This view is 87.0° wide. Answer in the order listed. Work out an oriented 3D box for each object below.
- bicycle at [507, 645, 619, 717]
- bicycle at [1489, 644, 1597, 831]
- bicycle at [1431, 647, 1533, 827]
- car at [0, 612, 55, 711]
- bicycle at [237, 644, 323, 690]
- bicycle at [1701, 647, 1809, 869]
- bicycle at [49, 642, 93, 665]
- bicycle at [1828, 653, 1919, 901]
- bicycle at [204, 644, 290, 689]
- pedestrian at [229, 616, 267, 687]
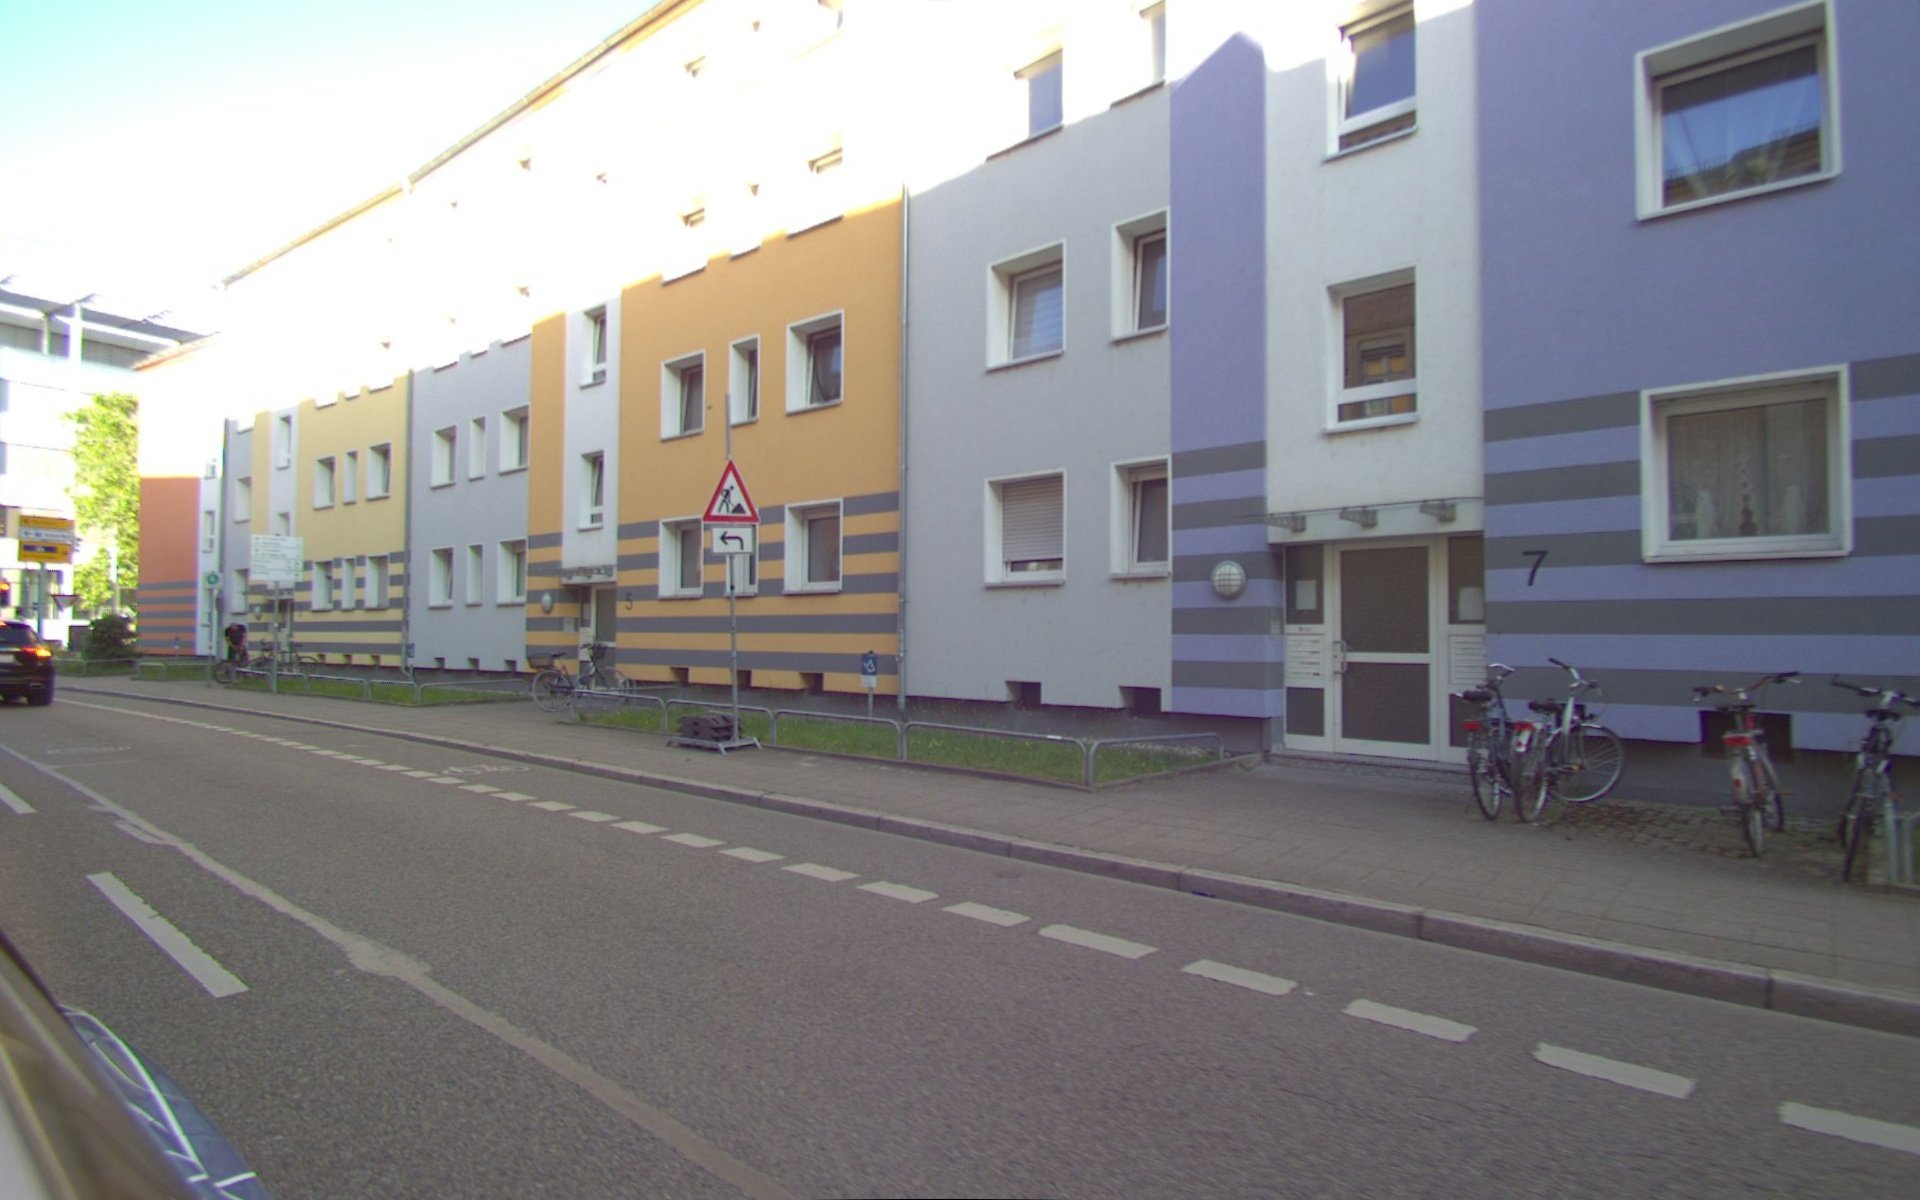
[{"bbox_3d":[-6.760,1.356,17.305,0.648,1.154,1.738,-1,-3,31],"label":"bicycle"},{"bbox_3d":[4.415,0.963,7.626,0.448,1.251,1.569,-2,-3,39],"label":"bicycle"},{"bbox_3d":[4.096,1.003,7.893,0.384,1.251,1.564,-2,-3,39],"label":"bicycle"},{"bbox_3d":[-20.073,1.199,20.357,5.088,1.849,1.881,-2,-5,39],"label":"car"},{"bbox_3d":[-17.668,1.721,26.323,0.648,1.154,1.738,-1,-3,31],"label":"bicycle"},{"bbox_3d":[5.176,0.941,6.588,0.466,1.251,1.623,-2,-3,39],"label":"bicycle"},{"bbox_3d":[-47.734,2.868,54.345,1.966,1.191,0.470,0,-2,1],"label":"bicycle"},{"bbox_3d":[5.577,0.950,5.950,0.622,1.241,1.988,-2,-3,39],"label":"bicycle"},{"bbox_3d":[-18.943,1.748,26.926,0.648,1.154,1.738,-1,-3,31],"label":"bicycle"},{"bbox_3d":[-19.153,1.370,27.251,0.709,1.869,0.872,1,-3,-29],"label":"pedestrian"}]
